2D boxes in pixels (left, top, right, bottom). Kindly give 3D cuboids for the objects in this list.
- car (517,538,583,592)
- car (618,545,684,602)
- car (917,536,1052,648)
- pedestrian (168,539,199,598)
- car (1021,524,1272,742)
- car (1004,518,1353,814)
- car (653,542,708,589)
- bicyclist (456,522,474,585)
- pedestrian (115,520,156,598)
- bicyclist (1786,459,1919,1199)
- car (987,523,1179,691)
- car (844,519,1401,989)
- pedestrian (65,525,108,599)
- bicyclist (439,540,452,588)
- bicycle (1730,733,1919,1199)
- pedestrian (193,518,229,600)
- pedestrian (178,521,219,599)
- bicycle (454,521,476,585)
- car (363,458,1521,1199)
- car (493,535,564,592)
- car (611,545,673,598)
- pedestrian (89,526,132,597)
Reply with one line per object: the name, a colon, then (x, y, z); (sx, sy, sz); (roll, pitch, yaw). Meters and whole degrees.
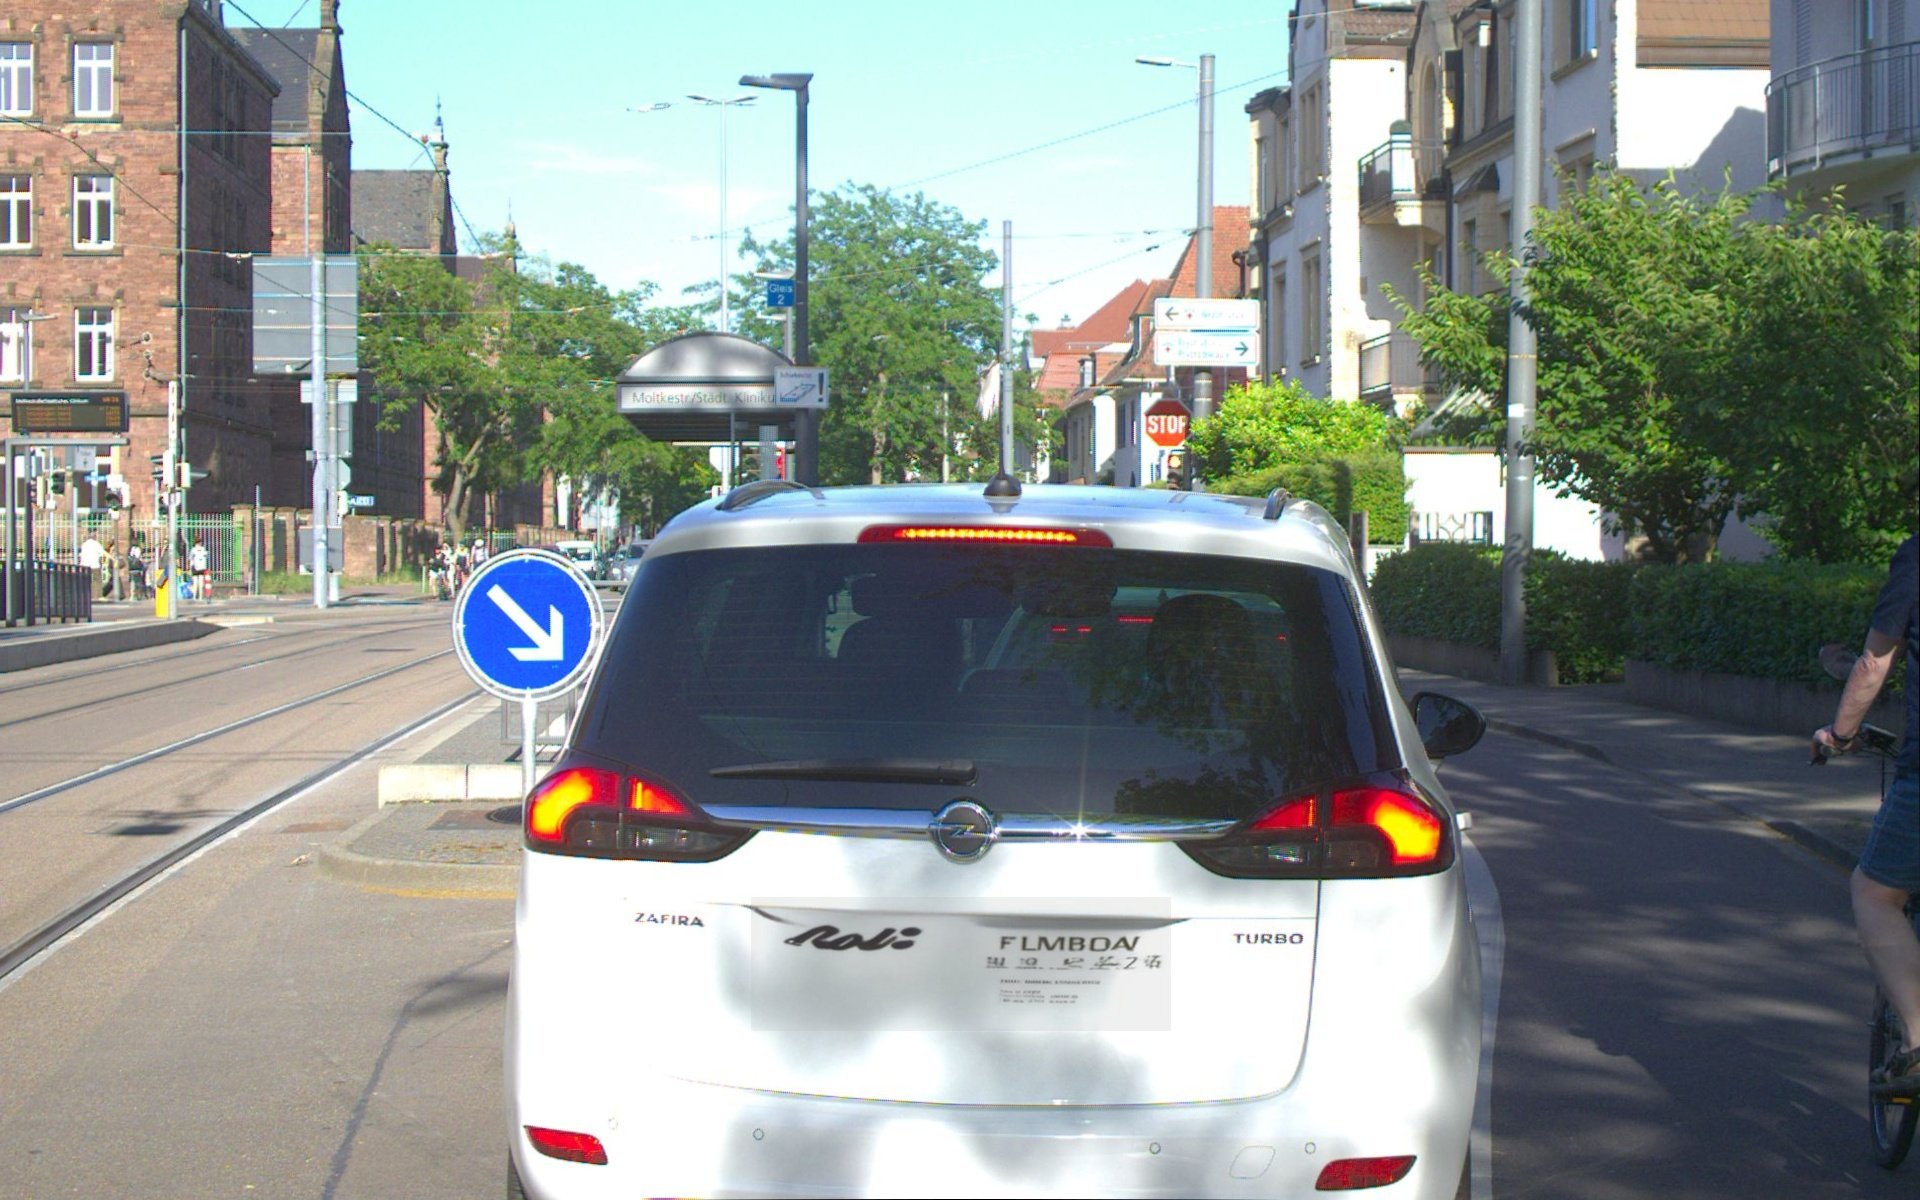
car: (-13.546, -1.160, 113.713); (1.746, 1.710, 4.000); (1, 1, -1)
car: (-9.633, -0.824, 107.362); (1.746, 1.710, 4.000); (1, 1, -1)
car: (0.341, -0.153, 53.089); (1.907, 1.656, 4.001); (0, 1, -2)
pedestrian: (-21.531, -0.868, 95.311); (0.654, 1.606, 0.711); (1, 0, 2)
car: (1.567, 0.212, 28.274); (1.907, 1.656, 4.000); (0, 1, 4)
car: (1.430, 0.325, 20.997); (1.907, 1.619, 3.999); (0, 1, 7)
car: (-10.480, -1.300, 129.070); (1.746, 1.710, 4.000); (1, 1, -1)
bicyclist: (-15.685, -1.481, 108.985); (0.498, 2.007, 0.572); (0, 1, -1)
pedestrian: (-21.193, -1.051, 88.348); (0.795, 2.007, 0.720); (1, 0, -34)
bicyclist: (2.338, 0.522, 8.028); (0.616, 1.681, 0.779); (0, 1, 0)
car: (1.244, 0.032, 36.111); (1.907, 1.656, 4.000); (0, 1, 1)
car: (0.781, 0.487, 13.774); (1.907, 1.592, 3.999); (0, 1, 7)
pedestrian: (-22.618, -0.973, 89.022); (0.808, 1.894, 0.743); (1, 0, 14)
bicyclist: (-15.419, -1.071, 103.044); (0.313, 1.439, 0.384); (0, 1, -1)
bicycle: (2.340, 0.910, 8.006); (0.624, 1.093, 1.974); (0, 1, -1)
pedestrian: (-18.518, -1.007, 84.961); (0.794, 2.007, 0.721); (1, 0, -17)
pedestrian: (-19.707, -1.036, 88.970); (0.795, 2.007, 0.720); (1, 0, -37)
bicycle: (-15.690, -1.481, 108.966); (0.487, 2.007, 1.405); (0, 1, 0)
car: (0.183, 0.560, 7.618); (1.907, 1.656, 3.999); (0, 1, 7)
car: (-13.420, -1.125, 107.045); (1.746, 1.710, 4.000); (1, 1, -1)
car: (-10.644, -0.954, 115.219); (1.746, 1.710, 4.000); (1, 1, -1)
pedestrian: (-22.596, -1.024, 91.437); (0.808, 1.894, 0.743); (1, 0, 18)
